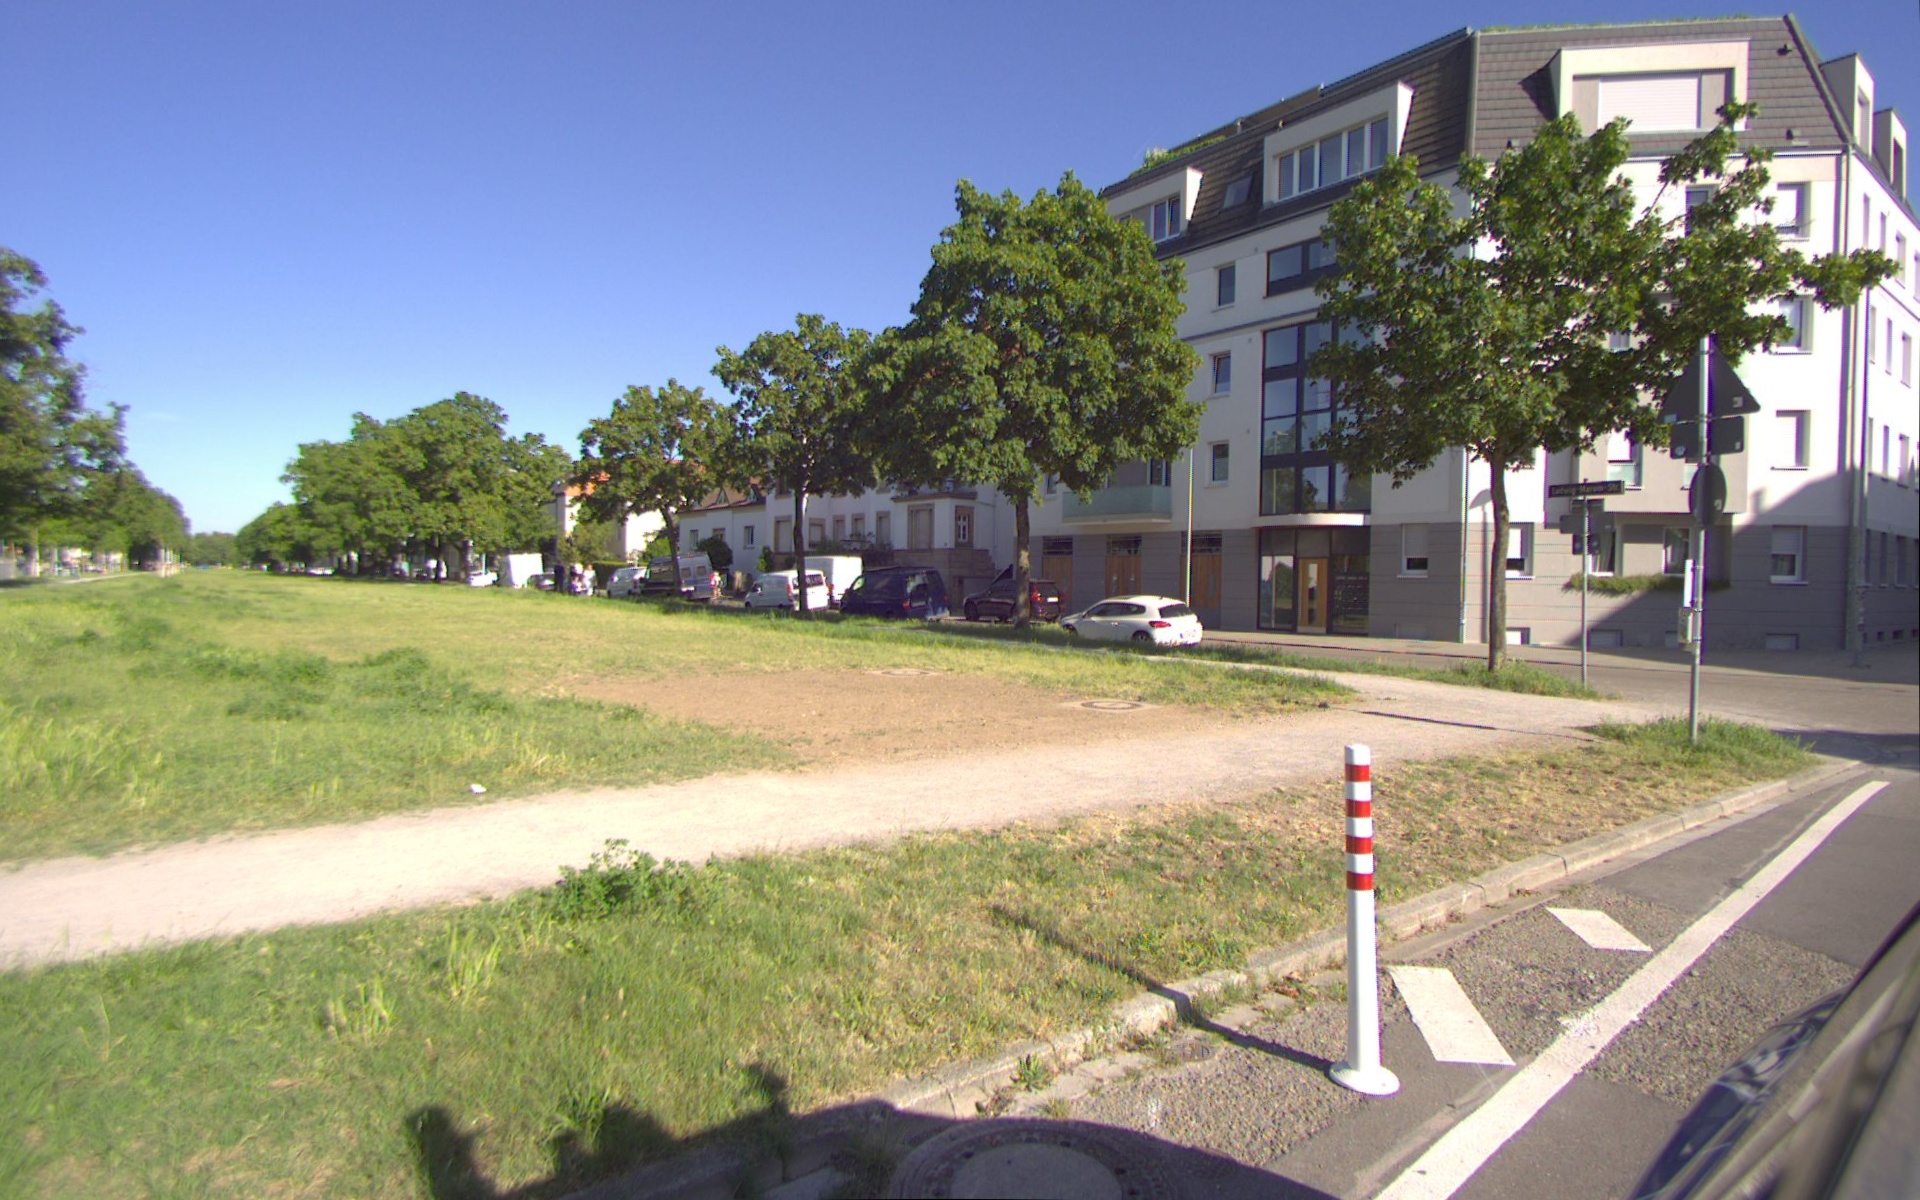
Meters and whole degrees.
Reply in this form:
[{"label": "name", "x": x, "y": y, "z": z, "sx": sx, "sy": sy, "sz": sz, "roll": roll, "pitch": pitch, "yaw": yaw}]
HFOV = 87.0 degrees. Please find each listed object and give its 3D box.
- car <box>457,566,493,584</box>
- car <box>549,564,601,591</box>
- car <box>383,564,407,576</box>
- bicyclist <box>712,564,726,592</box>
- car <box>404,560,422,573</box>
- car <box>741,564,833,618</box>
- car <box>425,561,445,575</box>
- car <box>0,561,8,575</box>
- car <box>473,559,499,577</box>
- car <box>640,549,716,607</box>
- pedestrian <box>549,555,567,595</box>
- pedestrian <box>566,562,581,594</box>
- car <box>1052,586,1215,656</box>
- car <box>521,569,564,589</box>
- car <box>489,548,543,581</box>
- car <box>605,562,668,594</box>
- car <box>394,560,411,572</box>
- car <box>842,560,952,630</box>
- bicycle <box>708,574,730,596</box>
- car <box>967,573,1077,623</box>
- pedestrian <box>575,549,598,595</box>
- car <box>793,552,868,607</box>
[{"label": "car", "x": -42.381, "y": -2.224, "z": 88.408, "sx": 2.042, "sy": 1.484, "sz": 4.728, "roll": 0, "pitch": 2, "yaw": -36}, {"label": "car", "x": -24.633, "y": -1.475, "z": 64.660, "sx": 2.046, "sy": 1.618, "sz": 4.288, "roll": 0, "pitch": 2, "yaw": -36}, {"label": "car", "x": -69.584, "y": -3.689, "z": 124.511, "sx": 2.042, "sy": 1.484, "sz": 4.728, "roll": 0, "pitch": 2, "yaw": -36}, {"label": "bicyclist", "x": -12.996, "y": -1.172, "z": 54.538, "sx": 0.488, "sy": 1.482, "sz": 0.687, "roll": 0, "pitch": 1, "yaw": -35}, {"label": "car", "x": -79.070, "y": -4.825, "z": 146.316, "sx": 1.831, "sy": 1.868, "sz": 3.994, "roll": 0, "pitch": 2, "yaw": -36}, {"label": "car", "x": -7.027, "y": -0.425, "z": 40.767, "sx": 1.842, "sy": 1.906, "sz": 4.424, "roll": -5, "pitch": 5, "yaw": -35}, {"label": "car", "x": -70.633, "y": -4.345, "z": 136.239, "sx": 1.831, "sy": 1.868, "sz": 3.994, "roll": 0, "pitch": 2, "yaw": -36}, {"label": "car", "x": -101.036, "y": -3.360, "z": 105.866, "sx": 1.690, "sy": 1.358, "sz": 3.808, "roll": 0, "pitch": 2, "yaw": -37}, {"label": "car", "x": -50.669, "y": -3.439, "z": 108.144, "sx": 1.831, "sy": 1.868, "sz": 3.994, "roll": 0, "pitch": 2, "yaw": -36}, {"label": "car", "x": -14.008, "y": -1.147, "z": 50.082, "sx": 2.153, "sy": 2.615, "sz": 4.288, "roll": -5, "pitch": 4, "yaw": -36}, {"label": "pedestrian", "x": -19.250, "y": -1.215, "z": 48.488, "sx": 0.632, "sy": 1.900, "sz": 0.629, "roll": 0, "pitch": 1, "yaw": -38}, {"label": "pedestrian", "x": -18.540, "y": -1.066, "z": 48.544, "sx": 0.487, "sy": 1.524, "sz": 0.535, "roll": 1, "pitch": 1, "yaw": -37}, {"label": "car", "x": 4.338, "y": 0.461, "z": 25.767, "sx": 1.709, "sy": 1.450, "sz": 3.993, "roll": -5, "pitch": 5, "yaw": -37}, {"label": "car", "x": -29.216, "y": -1.477, "z": 70.723, "sx": 1.898, "sy": 1.361, "sz": 4.110, "roll": 0, "pitch": 2, "yaw": -36}, {"label": "car", "x": -33.275, "y": -2.636, "z": 75.777, "sx": 2.503, "sy": 2.363, "sz": 5.920, "roll": 0, "pitch": 2, "yaw": -36}, {"label": "car", "x": -17.845, "y": -1.226, "z": 55.743, "sx": 2.046, "sy": 1.618, "sz": 4.288, "roll": 0, "pitch": 2, "yaw": -36}, {"label": "car", "x": -87.467, "y": -5.376, "z": 158.712, "sx": 1.831, "sy": 1.868, "sz": 3.994, "roll": 0, "pitch": 2, "yaw": -36}, {"label": "car", "x": -2.181, "y": -0.232, "z": 34.099, "sx": 1.752, "sy": 2.108, "sz": 3.994, "roll": -5, "pitch": 5, "yaw": -36}, {"label": "bicycle", "x": -12.987, "y": -0.810, "z": 54.525, "sx": 0.497, "sy": 1.102, "sz": 1.709, "roll": 0, "pitch": 1, "yaw": -35}, {"label": "car", "x": 2.272, "y": -0.115, "z": 38.098, "sx": 1.861, "sy": 1.703, "sz": 4.289, "roll": -1, "pitch": 3, "yaw": -36}, {"label": "pedestrian", "x": -15.616, "y": -1.186, "z": 42.282, "sx": 0.711, "sy": 1.900, "sz": 0.629, "roll": 0, "pitch": 1, "yaw": -38}, {"label": "car", "x": -6.394, "y": -1.068, "z": 49.687, "sx": 1.985, "sy": 2.580, "sz": 3.994, "roll": -1, "pitch": 2, "yaw": -36}]
